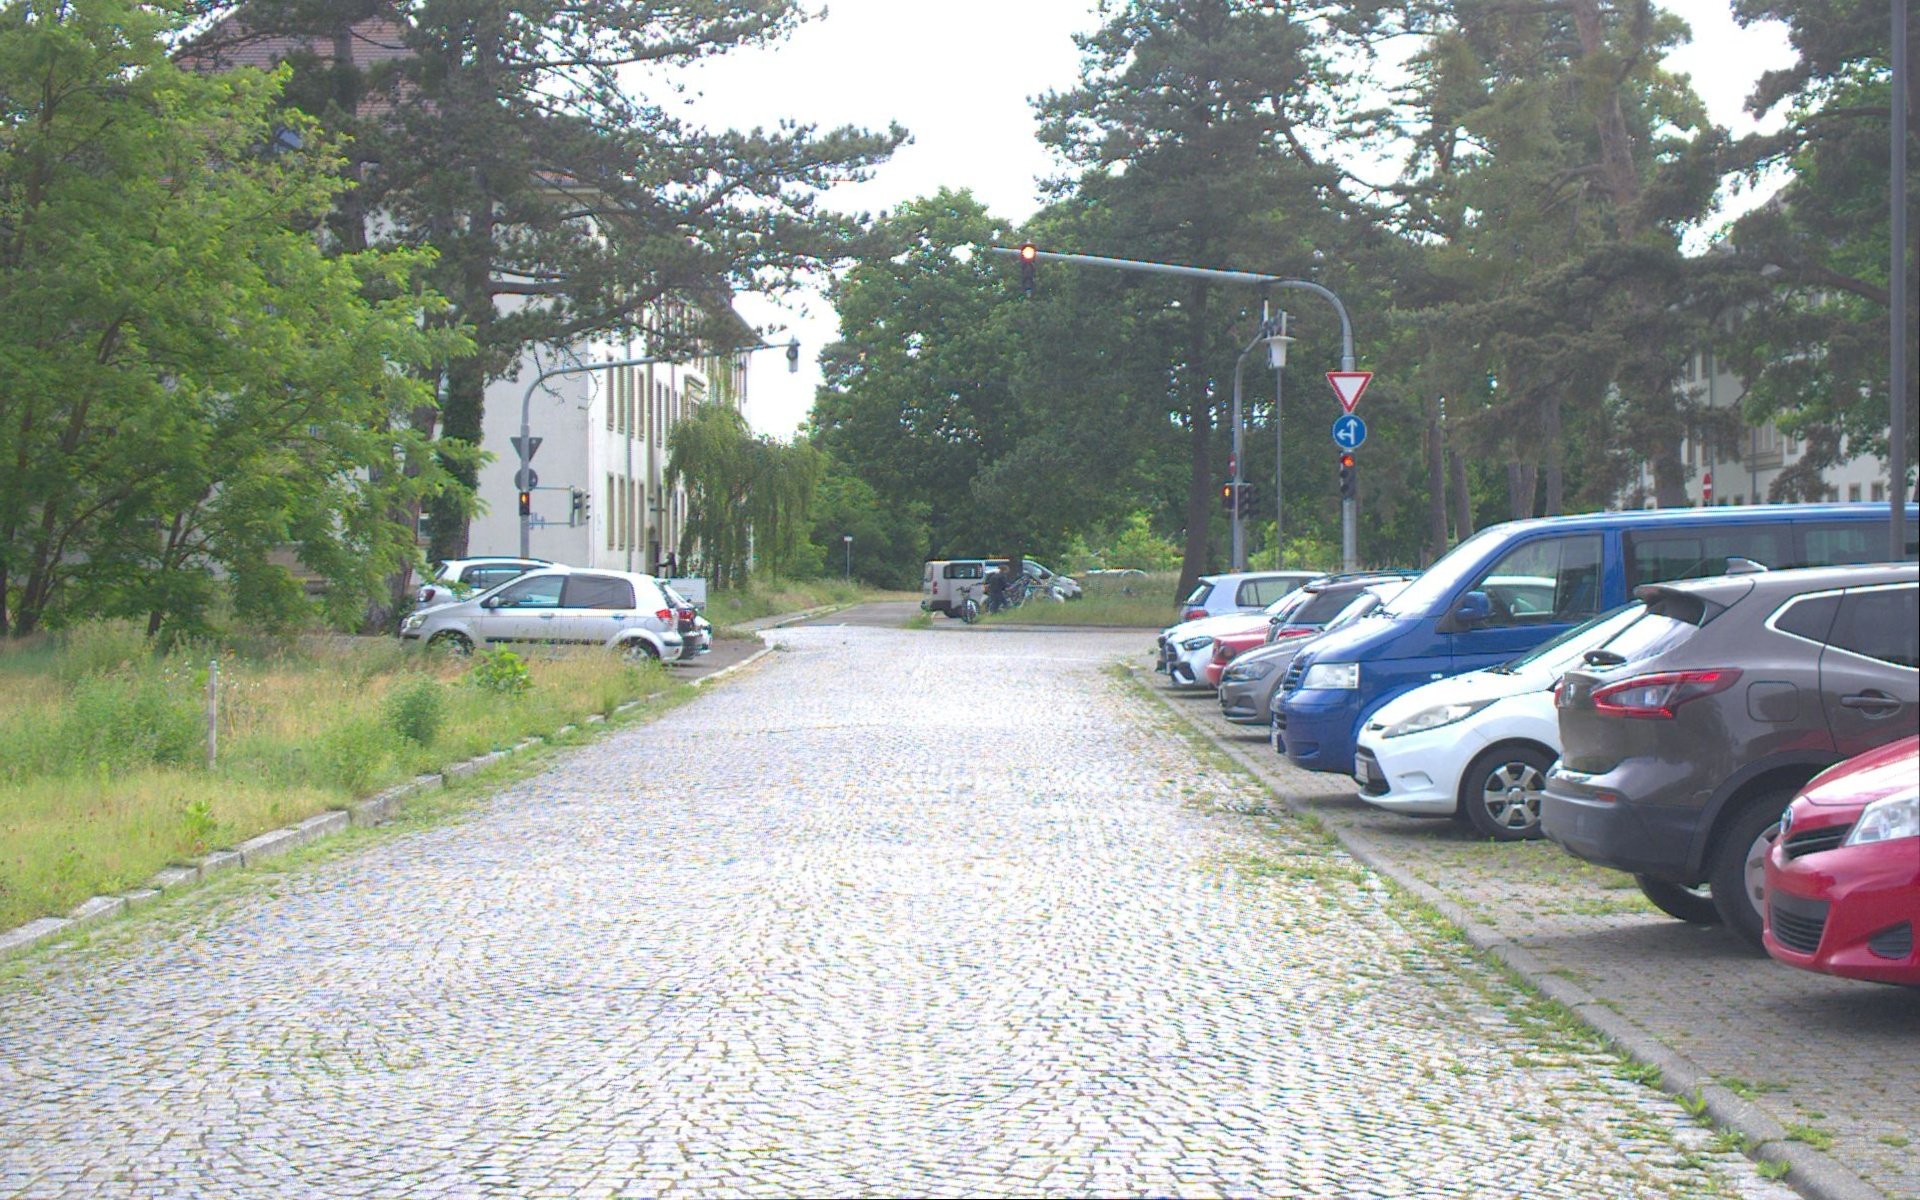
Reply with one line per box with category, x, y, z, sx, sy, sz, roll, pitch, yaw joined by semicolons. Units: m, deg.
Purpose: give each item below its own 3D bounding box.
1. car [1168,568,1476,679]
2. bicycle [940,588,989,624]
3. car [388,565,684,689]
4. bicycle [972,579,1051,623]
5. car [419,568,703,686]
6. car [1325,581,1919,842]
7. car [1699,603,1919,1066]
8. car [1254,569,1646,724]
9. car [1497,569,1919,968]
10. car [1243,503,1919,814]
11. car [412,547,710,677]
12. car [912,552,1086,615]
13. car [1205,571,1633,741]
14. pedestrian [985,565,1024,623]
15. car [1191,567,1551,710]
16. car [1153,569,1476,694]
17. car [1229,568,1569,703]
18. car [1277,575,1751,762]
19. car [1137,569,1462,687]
car;4.957;0.308;47.302;3.967;1.416;1.620;-1;0;-4
bicycle;0.123;0.148;92.227;0.620;0.942;1.663;1;0;-27
car;-5.684;0.351;46.367;3.821;1.567;1.564;-1;0;-3
bicycle;1.445;0.034;96.279;2.136;1.210;0.622;1;0;-4
car;-5.633;0.368;48.784;3.821;1.567;1.564;-1;0;0
car;4.175;0.647;20.923;3.671;1.444;1.615;-1;0;-2
car;4.646;0.720;11.872;3.792;1.455;1.751;-1;0;1
car;4.886;0.452;34.553;3.671;1.444;1.524;-1;0;-1
car;4.454;0.637;14.542;4.028;1.547;1.751;-1;0;-2
car;4.430;0.372;23.511;4.754;1.948;1.931;-1;0;-1
car;-5.971;0.181;51.775;4.262;1.834;1.744;-1;0;0
car;1.284;-0.537;114.190;5.444;2.007;2.269;1;0;-8
car;4.174;0.494;31.574;3.671;1.444;1.524;-1;0;-1
pedestrian;1.248;-0.176;96.623;1.033;1.608;0.757;1;0;-4
car;4.416;0.406;37.265;3.671;1.444;1.524;-1;0;-1
car;4.280;0.370;41.805;3.671;1.416;1.524;-1;0;-4
car;5.014;0.391;39.543;3.671;1.444;1.524;-1;0;-1
car;4.587;0.551;28.790;3.671;1.444;1.524;-1;0;-1
car;4.376;0.350;44.659;3.967;1.416;1.620;-1;0;-4
